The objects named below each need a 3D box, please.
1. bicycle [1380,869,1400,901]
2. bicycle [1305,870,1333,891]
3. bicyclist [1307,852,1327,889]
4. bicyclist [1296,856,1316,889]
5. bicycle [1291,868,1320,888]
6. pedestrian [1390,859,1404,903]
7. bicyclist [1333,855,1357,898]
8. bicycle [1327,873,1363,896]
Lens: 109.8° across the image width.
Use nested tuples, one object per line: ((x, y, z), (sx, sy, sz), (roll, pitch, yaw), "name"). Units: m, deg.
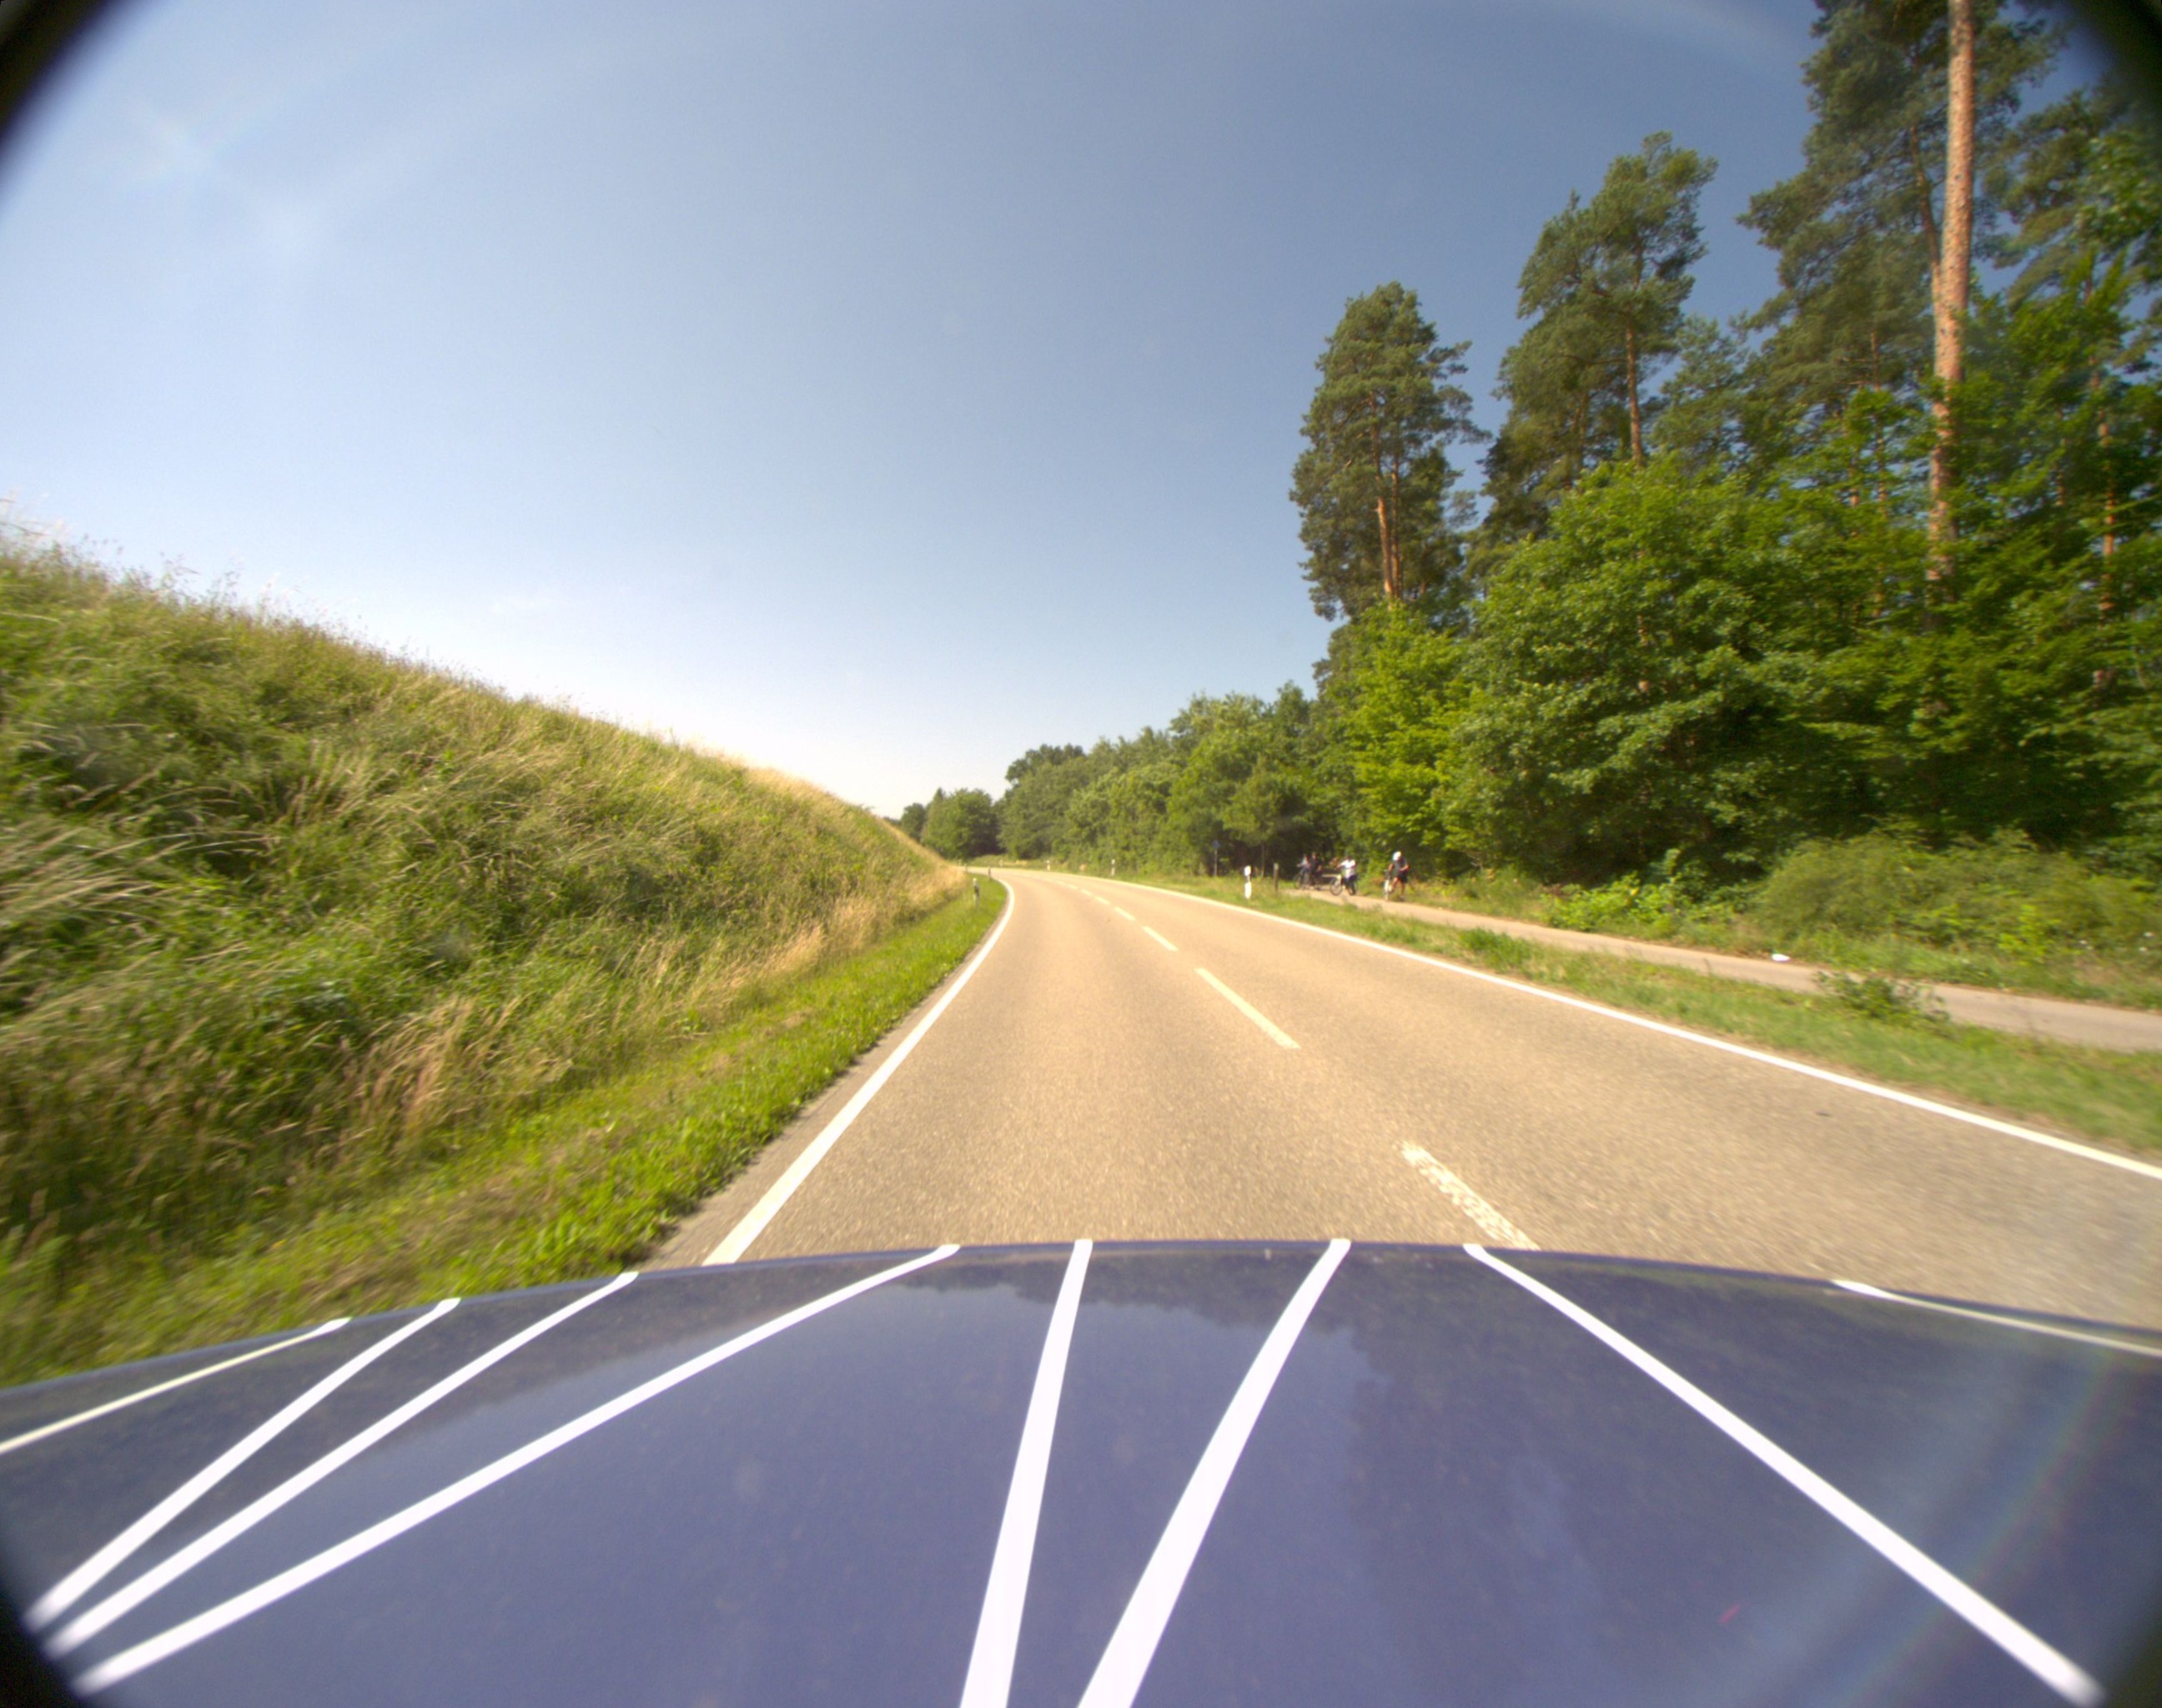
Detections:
((10.978, 1.082, 26.971), (0.581, 1.080, 1.450), (-2, -1, 23), "bicycle")
((11.241, 1.236, 35.808), (0.604, 0.825, 1.989), (-1, 2, 38), "bicycle")
((11.057, 0.783, 35.596), (0.604, 1.691, 0.852), (-1, 2, 38), "bicyclist")
((10.719, 0.886, 36.168), (0.604, 1.536, 0.873), (-1, 2, 38), "bicyclist")
((10.701, 1.148, 36.152), (0.604, 0.825, 1.989), (-1, 2, 38), "bicycle")
((11.168, 0.960, 26.831), (0.285, 1.529, 0.390), (0, 1, -11), "pedestrian")
((10.964, 0.918, 31.547), (0.604, 1.709, 0.791), (0, 2, 45), "bicyclist")
((10.962, 1.249, 31.536), (0.604, 0.825, 1.989), (0, 2, 45), "bicycle")
